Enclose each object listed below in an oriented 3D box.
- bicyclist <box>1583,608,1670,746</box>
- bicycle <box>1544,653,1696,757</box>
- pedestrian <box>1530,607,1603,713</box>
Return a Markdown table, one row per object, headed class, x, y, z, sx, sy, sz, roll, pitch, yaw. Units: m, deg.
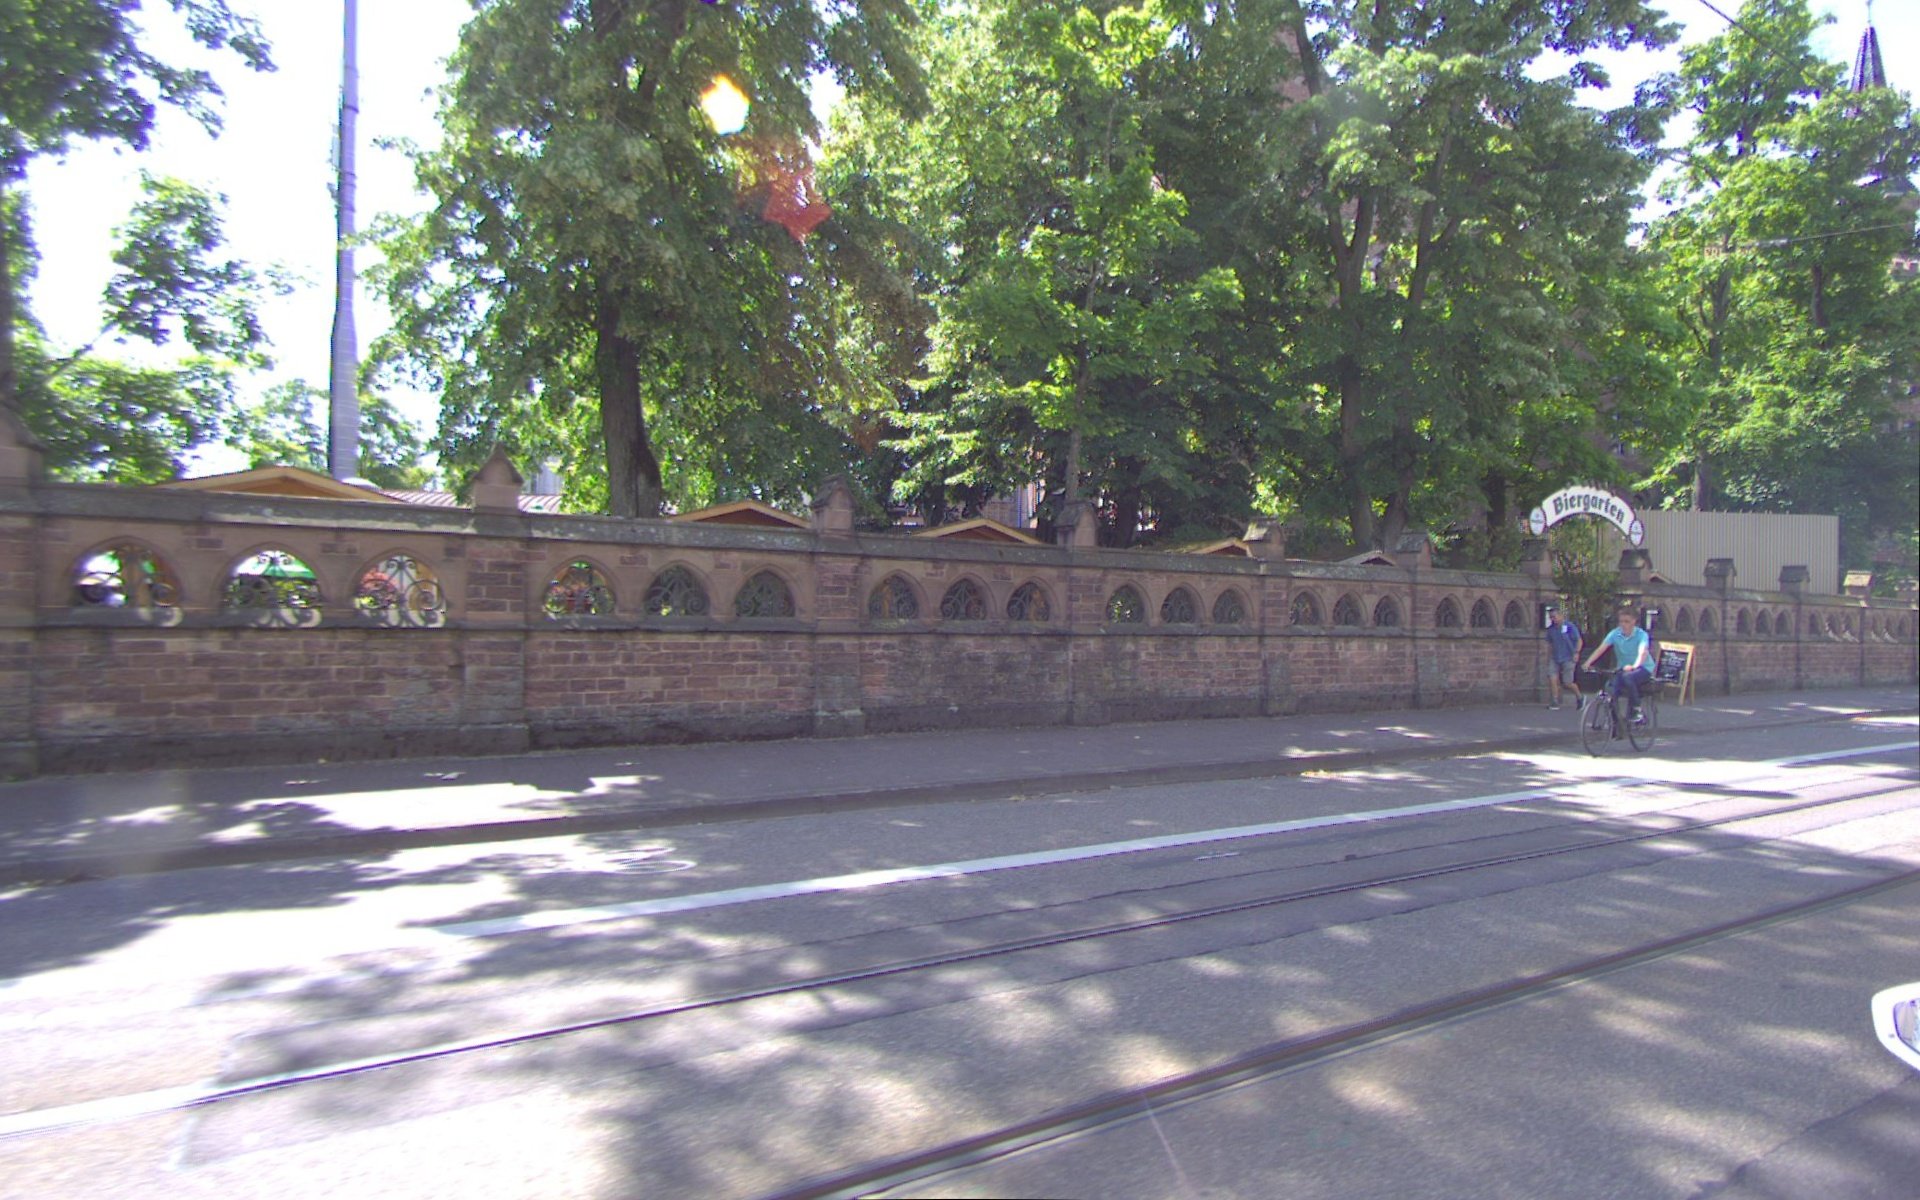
| class | x | y | z | sx | sy | sz | roll | pitch | yaw |
| --- | --- | --- | --- | --- | --- | --- | --- | --- | --- |
| bicyclist | 8.520 | 0.957 | 12.846 | 0.805 | 1.702 | 0.639 | 1 | -1 | -31 |
| bicycle | 8.447 | 1.292 | 12.826 | 2.214 | 1.219 | 0.697 | 1 | -3 | -31 |
| pedestrian | 10.396 | 1.006 | 17.210 | 0.857 | 1.751 | 0.739 | 1 | -1 | -30 |
